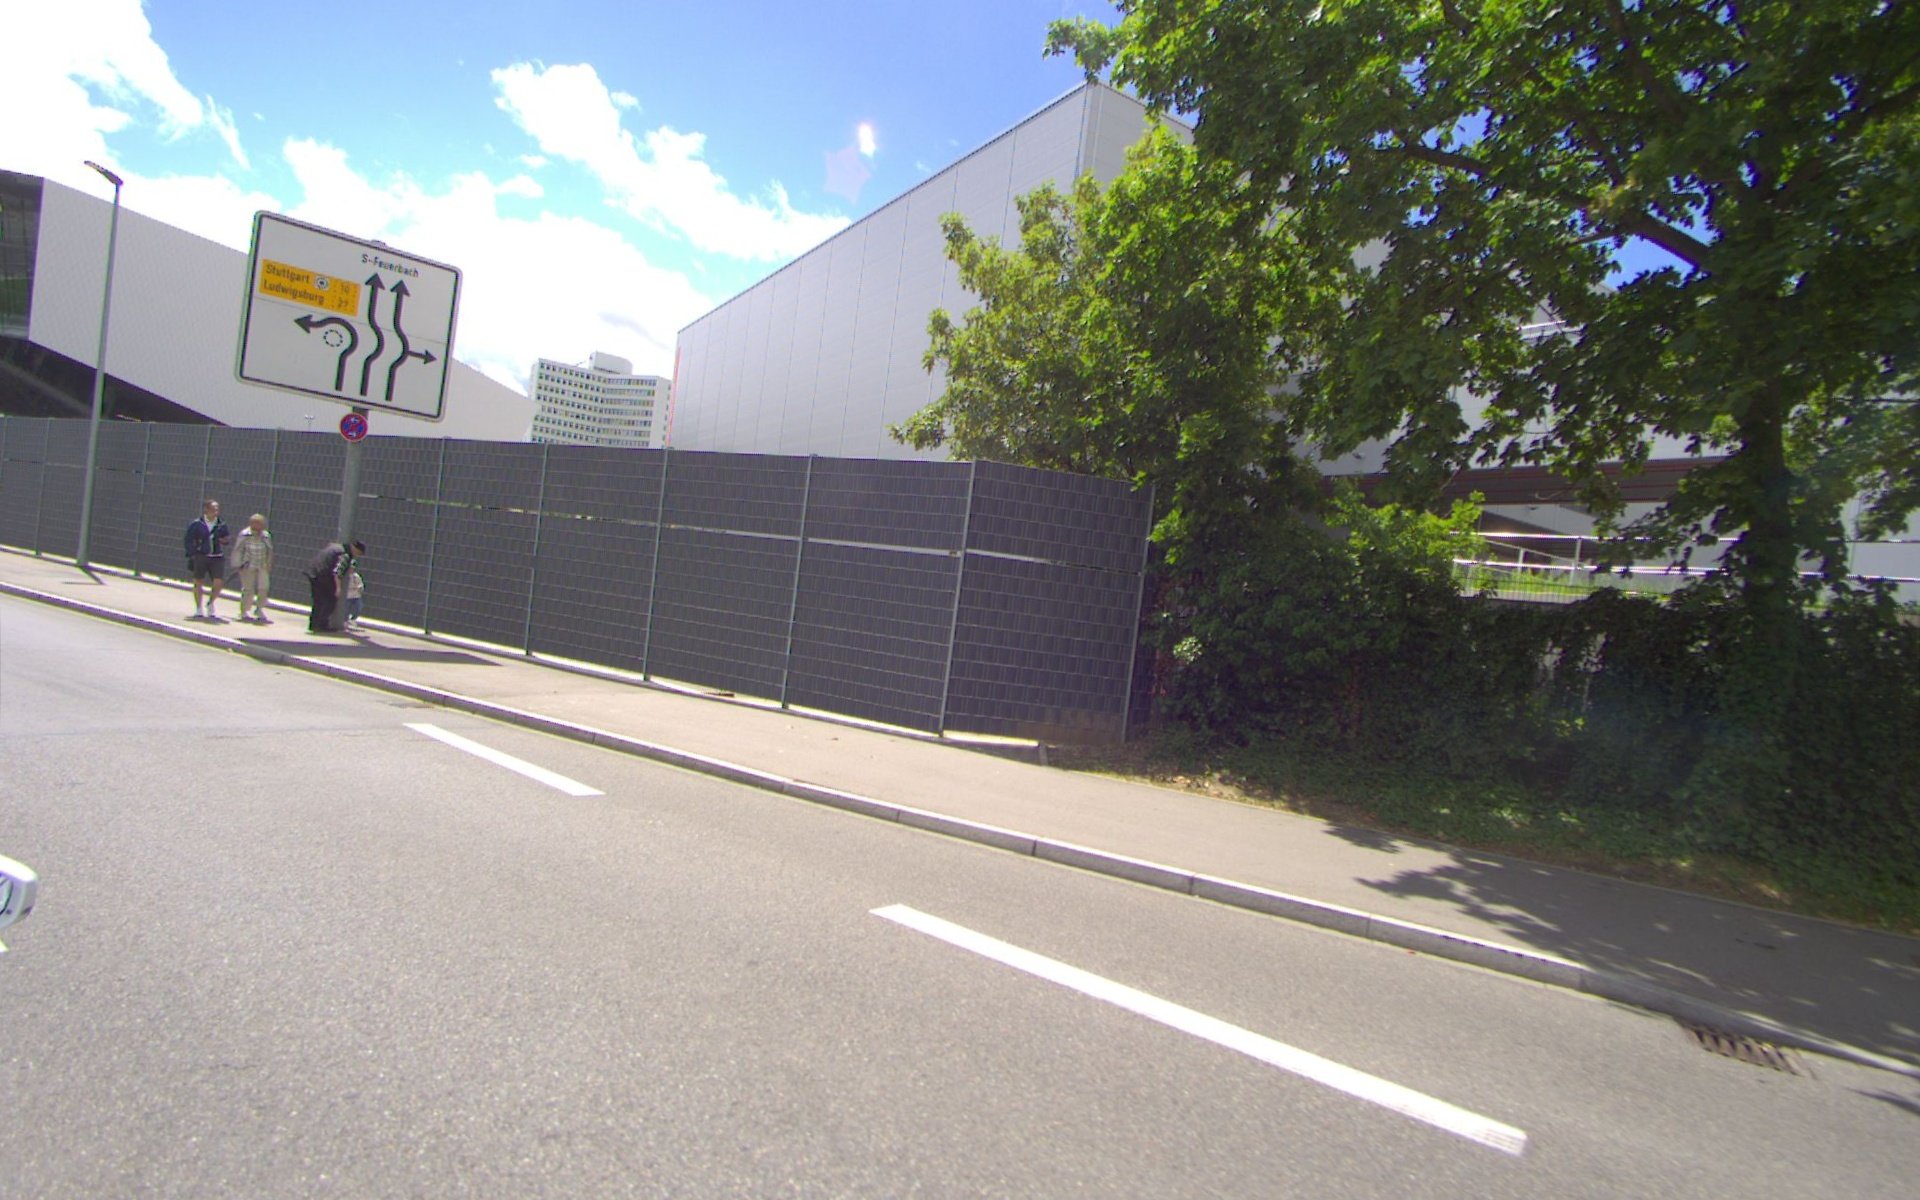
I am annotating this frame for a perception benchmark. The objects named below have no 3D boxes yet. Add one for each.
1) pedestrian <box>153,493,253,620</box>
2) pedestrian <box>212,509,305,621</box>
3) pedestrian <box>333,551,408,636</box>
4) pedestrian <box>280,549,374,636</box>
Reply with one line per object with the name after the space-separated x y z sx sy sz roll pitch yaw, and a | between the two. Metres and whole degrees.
-11.183 -0.631 14.870 0.719 1.741 0.796 6 -1 29 | pedestrian
-10.895 -0.535 15.636 0.719 1.615 0.796 6 -1 29 | pedestrian
-9.296 -0.098 15.861 0.589 1.221 0.715 6 -1 33 | pedestrian
-9.472 -0.109 15.056 0.956 1.162 0.758 6 -1 32 | pedestrian
